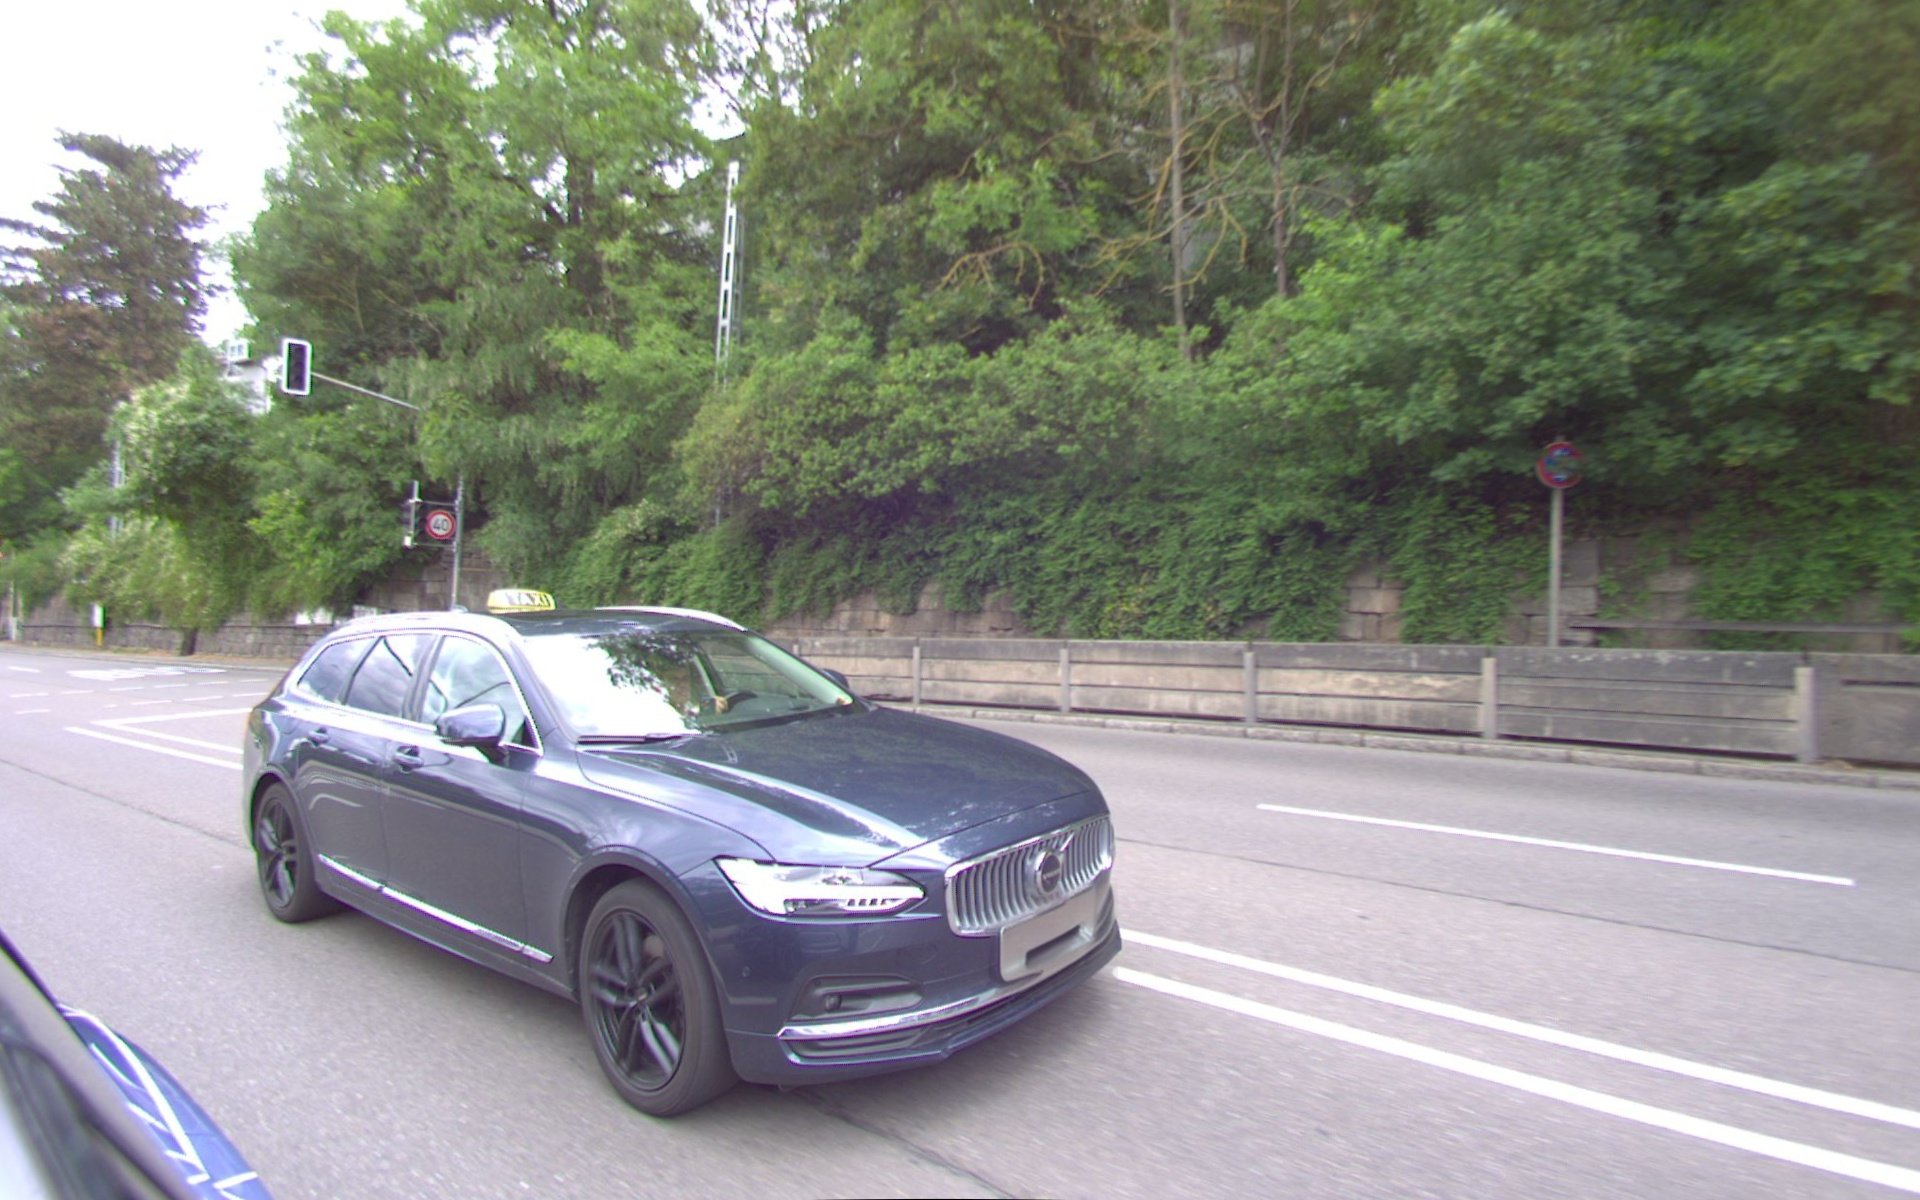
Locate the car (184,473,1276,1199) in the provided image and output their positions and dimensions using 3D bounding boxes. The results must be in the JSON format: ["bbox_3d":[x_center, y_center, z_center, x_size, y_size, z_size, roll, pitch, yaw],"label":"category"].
[{"bbox_3d":[-1.433,0.539,4.419,5.020,1.588,1.916,-1,1,38],"label":"car"}]

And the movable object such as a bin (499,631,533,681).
[{"bbox_3d":[-8.936,1.118,20.357,0.478,0.957,0.423,-1,1,34],"label":"movable object such as a bin"}]
